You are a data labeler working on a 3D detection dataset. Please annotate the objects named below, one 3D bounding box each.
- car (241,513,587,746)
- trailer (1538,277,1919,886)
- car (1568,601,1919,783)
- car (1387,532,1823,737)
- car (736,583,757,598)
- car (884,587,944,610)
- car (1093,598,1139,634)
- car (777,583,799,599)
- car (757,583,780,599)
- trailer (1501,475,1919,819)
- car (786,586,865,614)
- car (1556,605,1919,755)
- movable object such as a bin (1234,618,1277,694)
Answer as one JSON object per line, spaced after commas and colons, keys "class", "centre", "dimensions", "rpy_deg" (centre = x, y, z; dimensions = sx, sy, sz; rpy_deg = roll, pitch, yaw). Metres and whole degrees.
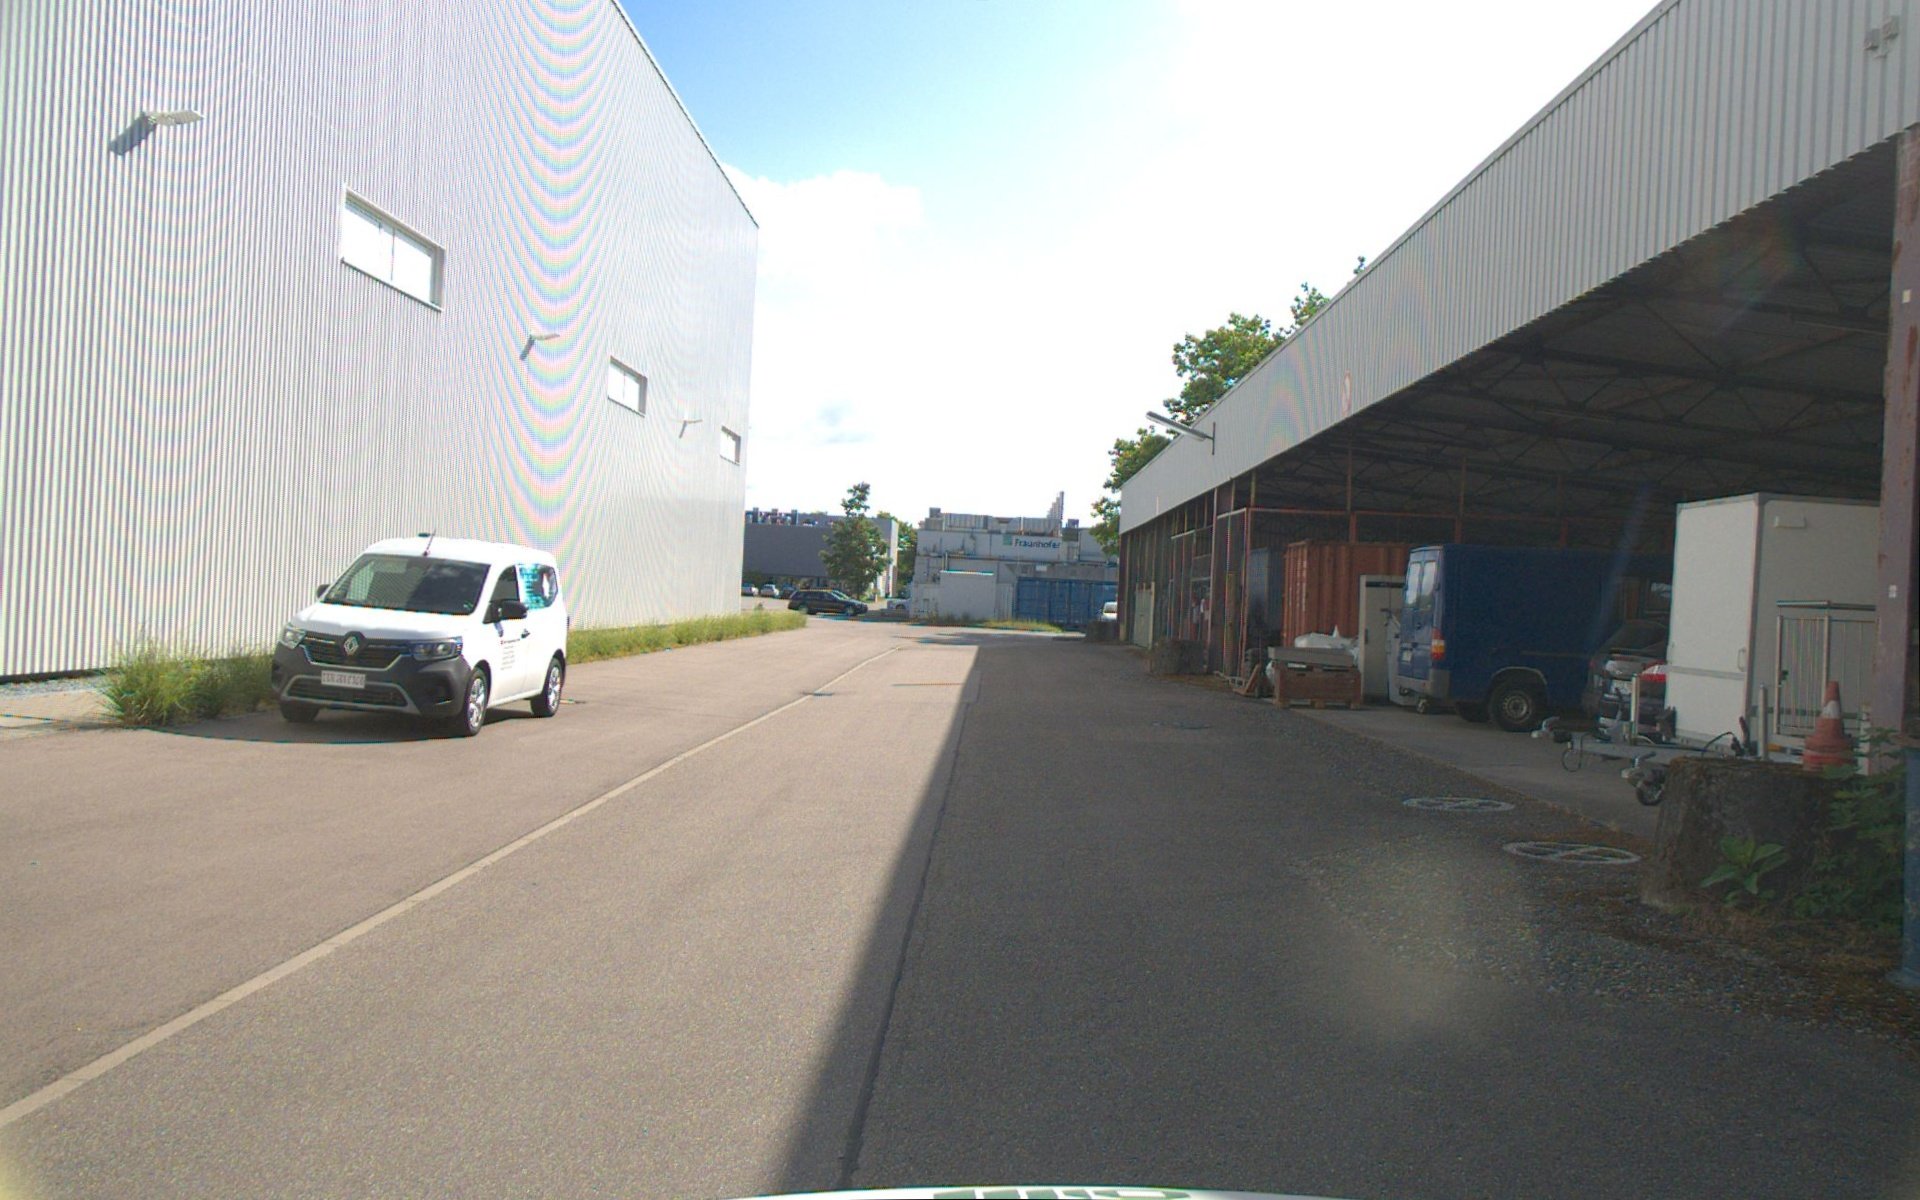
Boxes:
{"class": "car", "centre": [-5.241, 0.253, 16.565], "dimensions": [1.852, 1.877, 4.359], "rpy_deg": [5, 0, 0]}
{"class": "trailer", "centre": [9.063, 0.032, 10.354], "dimensions": [9.831, 3.272, 2.854], "rpy_deg": [2, 0, 1]}
{"class": "car", "centre": [8.177, 0.845, 15.549], "dimensions": [4.241, 1.522, 1.777], "rpy_deg": [2, 0, -2]}
{"class": "car", "centre": [8.301, 0.428, 21.643], "dimensions": [4.876, 2.366, 2.000], "rpy_deg": [2, 0, 1]}
{"class": "car", "centre": [-25.229, -1.089, 195.799], "dimensions": [1.952, 1.766, 4.000], "rpy_deg": [1, 0, 0]}
{"class": "car", "centre": [-3.480, -0.136, 126.344], "dimensions": [4.432, 1.534, 1.909], "rpy_deg": [2, 0, 2]}
{"class": "car", "centre": [8.051, 0.807, 85.847], "dimensions": [1.953, 1.613, 4.173], "rpy_deg": [2, 2, 0]}
{"class": "car", "centre": [-20.215, -1.078, 194.374], "dimensions": [2.148, 1.766, 4.000], "rpy_deg": [1, 0, 0]}
{"class": "car", "centre": [-22.691, -1.078, 196.114], "dimensions": [2.148, 1.766, 4.000], "rpy_deg": [1, 0, 0]}
{"class": "trailer", "centre": [6.887, 0.367, 12.922], "dimensions": [4.711, 2.433, 1.828], "rpy_deg": [2, 0, 6]}
{"class": "car", "centre": [-8.020, -0.003, 98.793], "dimensions": [4.432, 1.534, 1.909], "rpy_deg": [2, 0, 3]}
{"class": "car", "centre": [9.026, 0.874, 18.669], "dimensions": [3.908, 1.498, 1.787], "rpy_deg": [2, 0, -4]}
{"class": "movable object such as a bin", "centre": [4.884, 0.914, 27.361], "dimensions": [0.569, 1.185, 1.239], "rpy_deg": [2, 0, 5]}
